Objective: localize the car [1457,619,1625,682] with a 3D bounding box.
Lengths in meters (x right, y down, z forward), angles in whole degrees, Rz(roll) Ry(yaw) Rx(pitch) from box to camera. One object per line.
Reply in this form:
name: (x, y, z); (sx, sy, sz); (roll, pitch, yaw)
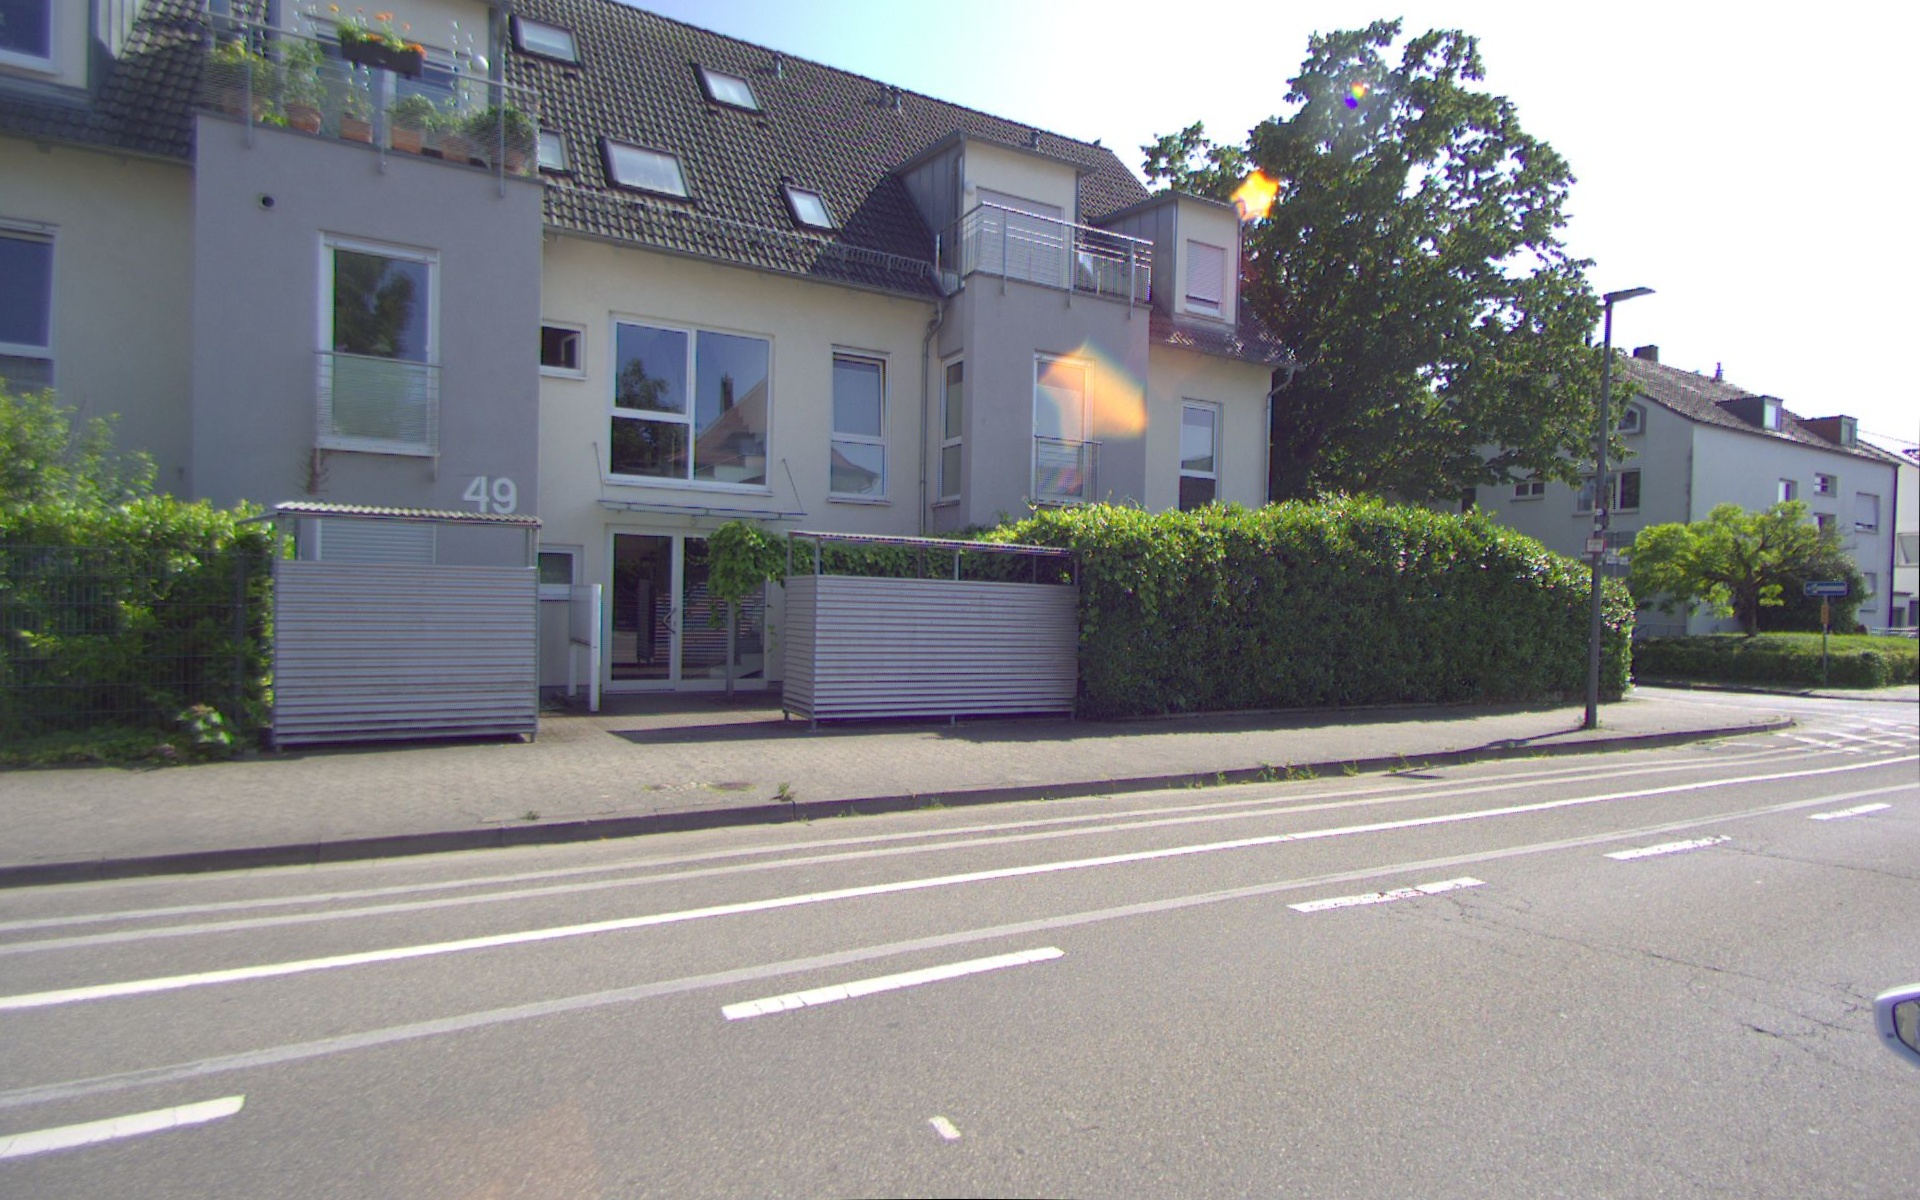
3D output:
car: (15.423, 1.301, 26.809); (1.706, 1.431, 3.476); (2, 0, -29)
